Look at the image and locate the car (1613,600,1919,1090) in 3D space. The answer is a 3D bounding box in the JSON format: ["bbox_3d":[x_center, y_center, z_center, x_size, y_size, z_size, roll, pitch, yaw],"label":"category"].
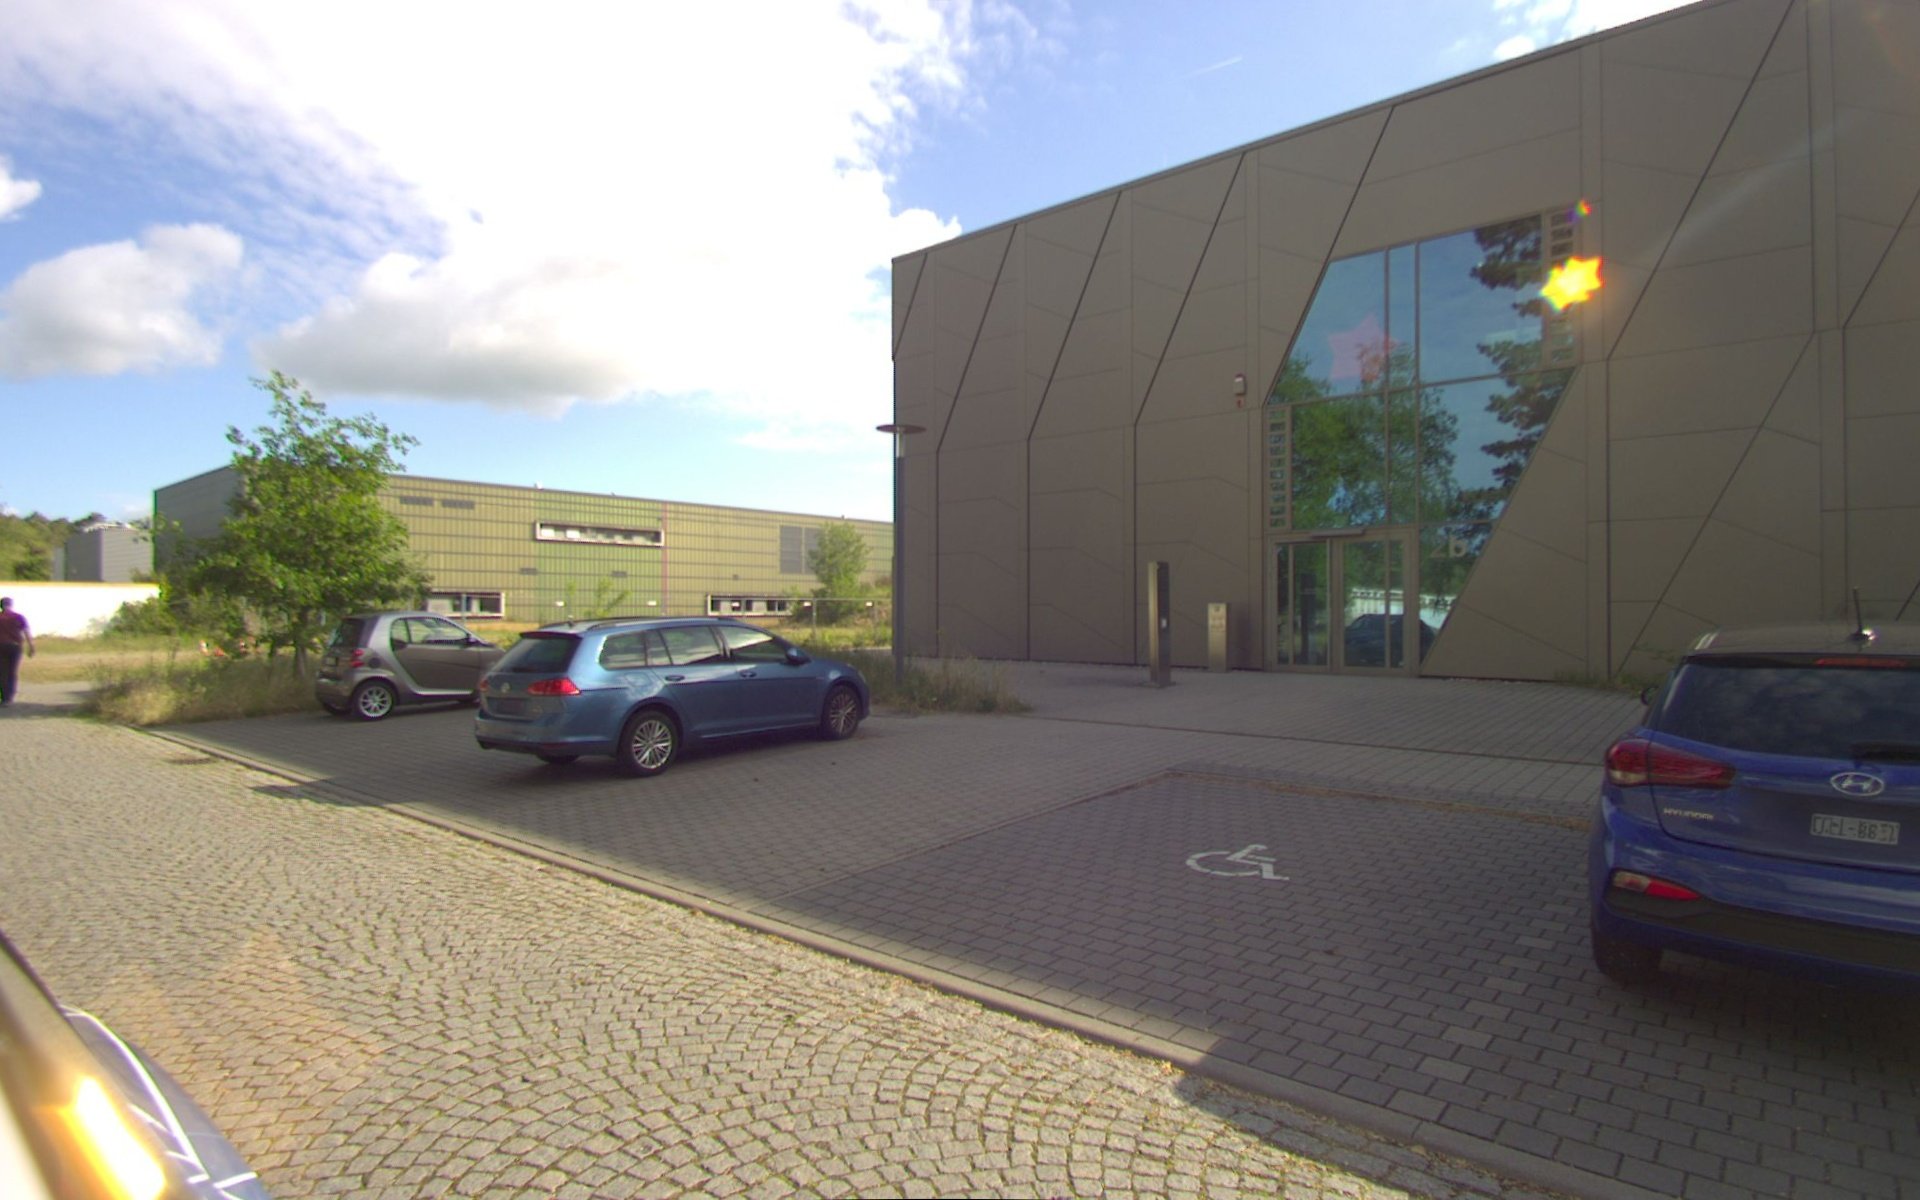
[{"bbox_3d":[4.312,0.773,4.582,1.719,1.475,3.795,-1,1,42],"label":"car"}]

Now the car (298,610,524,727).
[{"bbox_3d":[-8.391,0.968,15.574,1.517,1.554,2.672,-1,1,39],"label":"car"}]

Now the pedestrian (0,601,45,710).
[{"bbox_3d":[-16.099,0.919,17.038,1.151,1.785,0.797,-1,-1,36],"label":"pedestrian"}]

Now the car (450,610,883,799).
[{"bbox_3d":[-2.863,0.910,10.710,1.678,1.475,4.216,-1,0,38],"label":"car"}]
